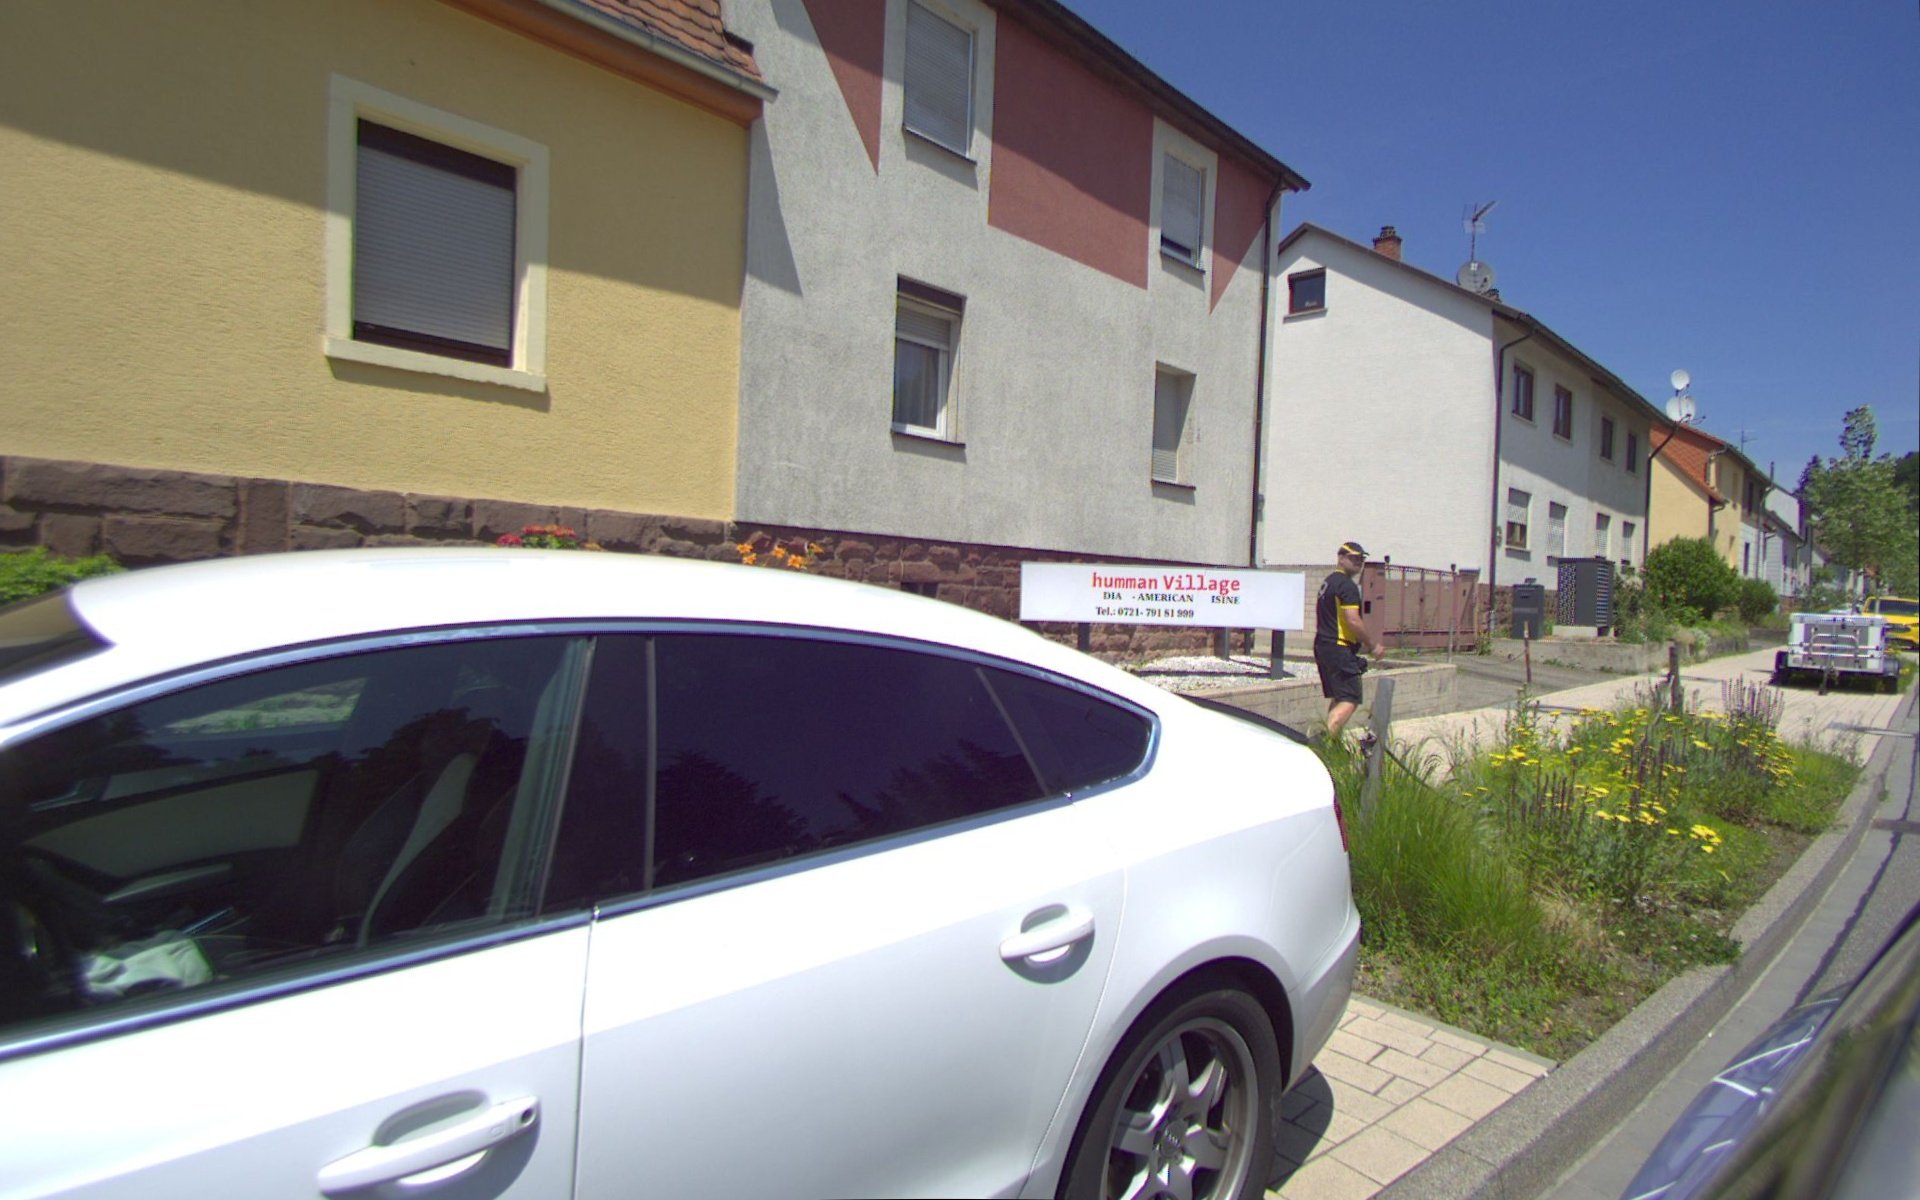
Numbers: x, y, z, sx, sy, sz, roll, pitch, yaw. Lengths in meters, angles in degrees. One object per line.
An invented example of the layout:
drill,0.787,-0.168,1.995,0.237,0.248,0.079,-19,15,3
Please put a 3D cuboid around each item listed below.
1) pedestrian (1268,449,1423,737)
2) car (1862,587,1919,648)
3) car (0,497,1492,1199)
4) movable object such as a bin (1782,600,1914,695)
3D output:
pedestrian,2.975,-0.058,7.795,1.016,2.039,0.747,0,0,-44
car,36.164,0.639,38.680,2.191,2.037,5.535,8,6,43
car,-1.060,0.575,1.702,4.549,1.435,1.761,-1,4,-39
movable object such as a bin,15.677,0.757,17.823,1.572,1.434,2.993,3,3,44
